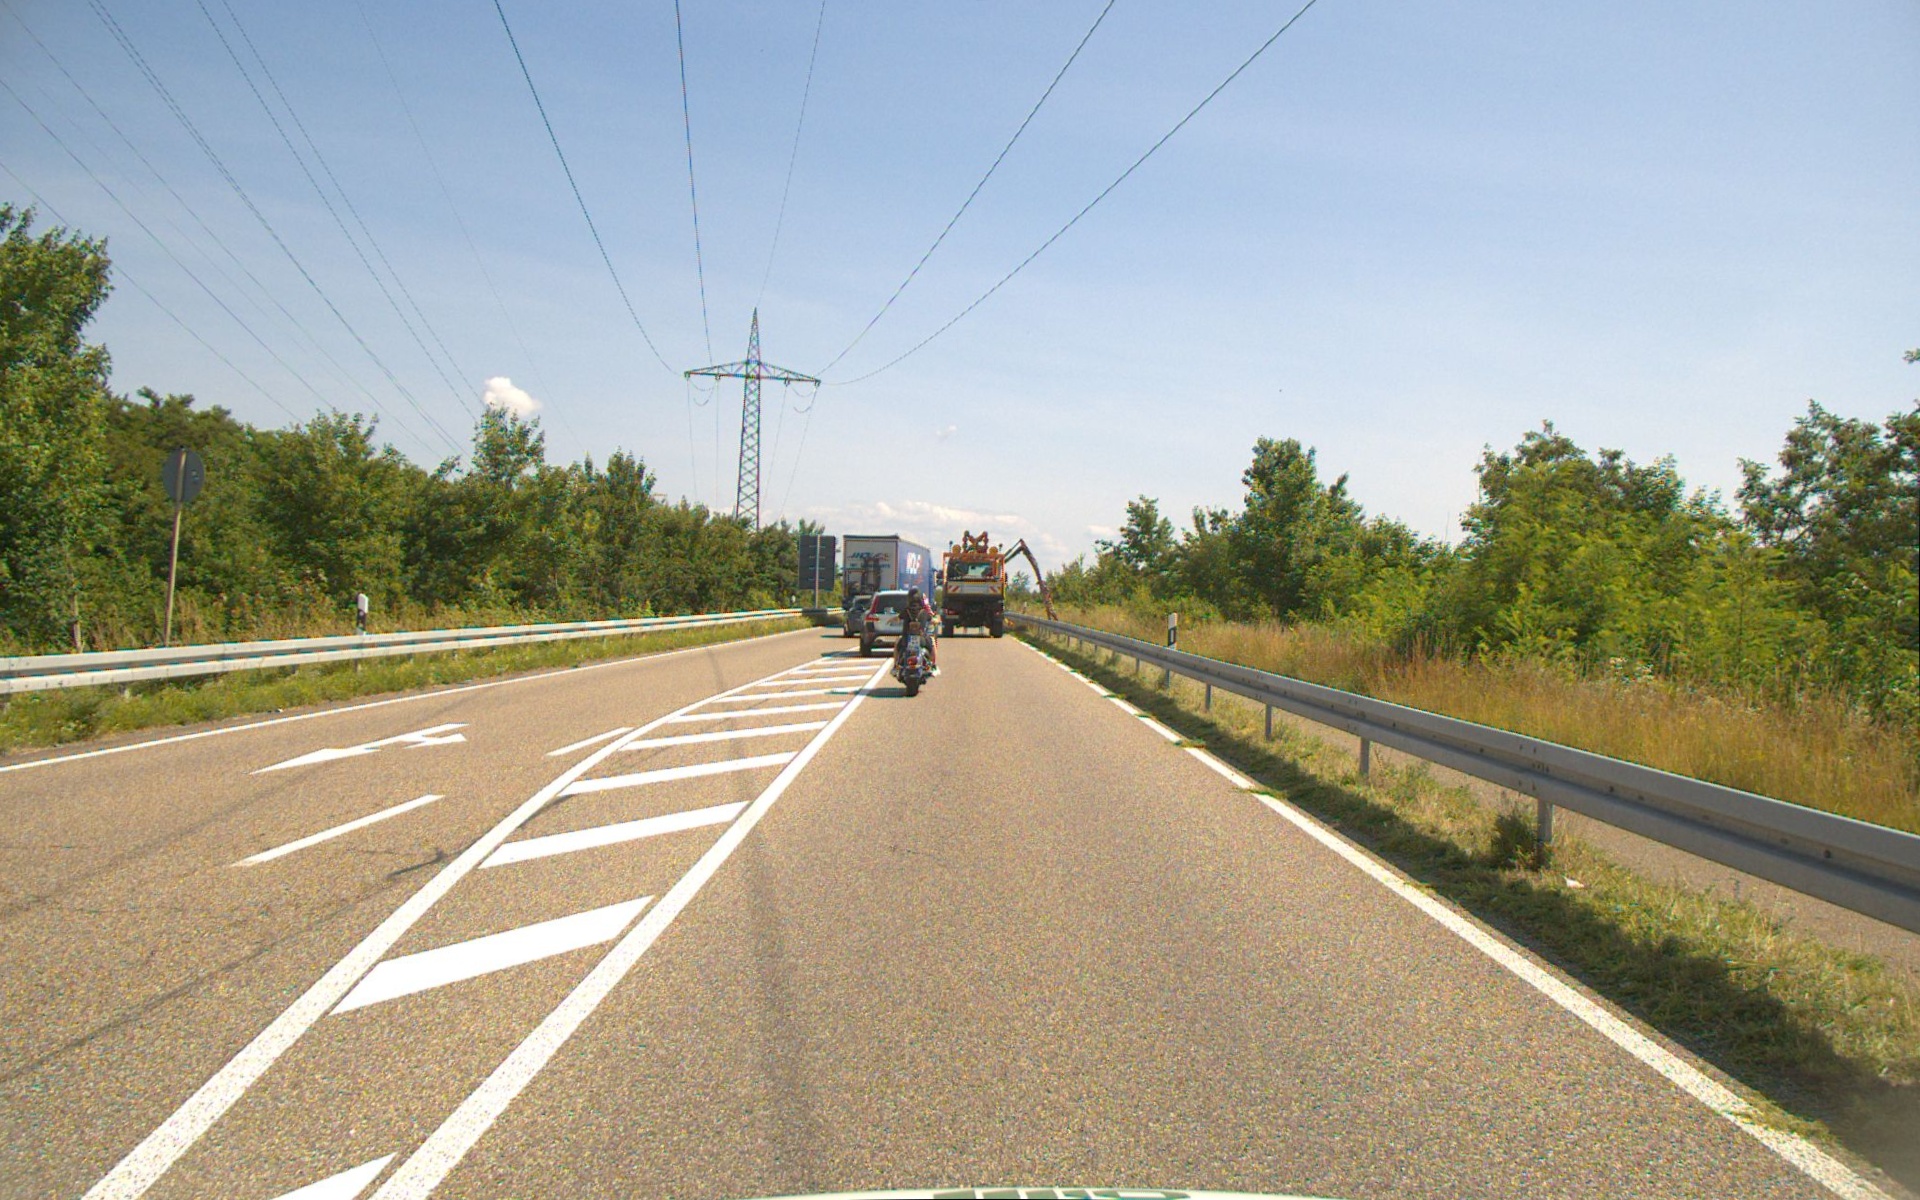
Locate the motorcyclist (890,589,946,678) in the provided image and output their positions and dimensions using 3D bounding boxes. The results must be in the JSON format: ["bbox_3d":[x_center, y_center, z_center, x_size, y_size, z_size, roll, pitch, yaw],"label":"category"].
[{"bbox_3d":[-0.639,0.497,25.142,0.820,1.303,0.919,1,0,-2],"label":"motorcyclist"}]

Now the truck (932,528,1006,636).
[{"bbox_3d":[0.375,-0.660,62.067,2.560,3.776,6.778,1,0,1],"label":"truck"}]

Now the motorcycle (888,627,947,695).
[{"bbox_3d":[-0.646,0.896,24.976,0.841,0.931,2.227,1,0,-2],"label":"motorcycle"}]

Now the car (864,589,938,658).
[{"bbox_3d":[-1.459,0.540,40.031,1.667,1.563,3.496,1,0,-4],"label":"car"}]

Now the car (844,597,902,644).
[{"bbox_3d":[-2.985,0.680,57.409,1.817,1.516,3.740,1,1,-1],"label":"car"}]

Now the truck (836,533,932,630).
[{"bbox_3d":[-3.496,-0.860,80.794,2.905,4.260,14.829,1,0,4],"label":"truck"}]
